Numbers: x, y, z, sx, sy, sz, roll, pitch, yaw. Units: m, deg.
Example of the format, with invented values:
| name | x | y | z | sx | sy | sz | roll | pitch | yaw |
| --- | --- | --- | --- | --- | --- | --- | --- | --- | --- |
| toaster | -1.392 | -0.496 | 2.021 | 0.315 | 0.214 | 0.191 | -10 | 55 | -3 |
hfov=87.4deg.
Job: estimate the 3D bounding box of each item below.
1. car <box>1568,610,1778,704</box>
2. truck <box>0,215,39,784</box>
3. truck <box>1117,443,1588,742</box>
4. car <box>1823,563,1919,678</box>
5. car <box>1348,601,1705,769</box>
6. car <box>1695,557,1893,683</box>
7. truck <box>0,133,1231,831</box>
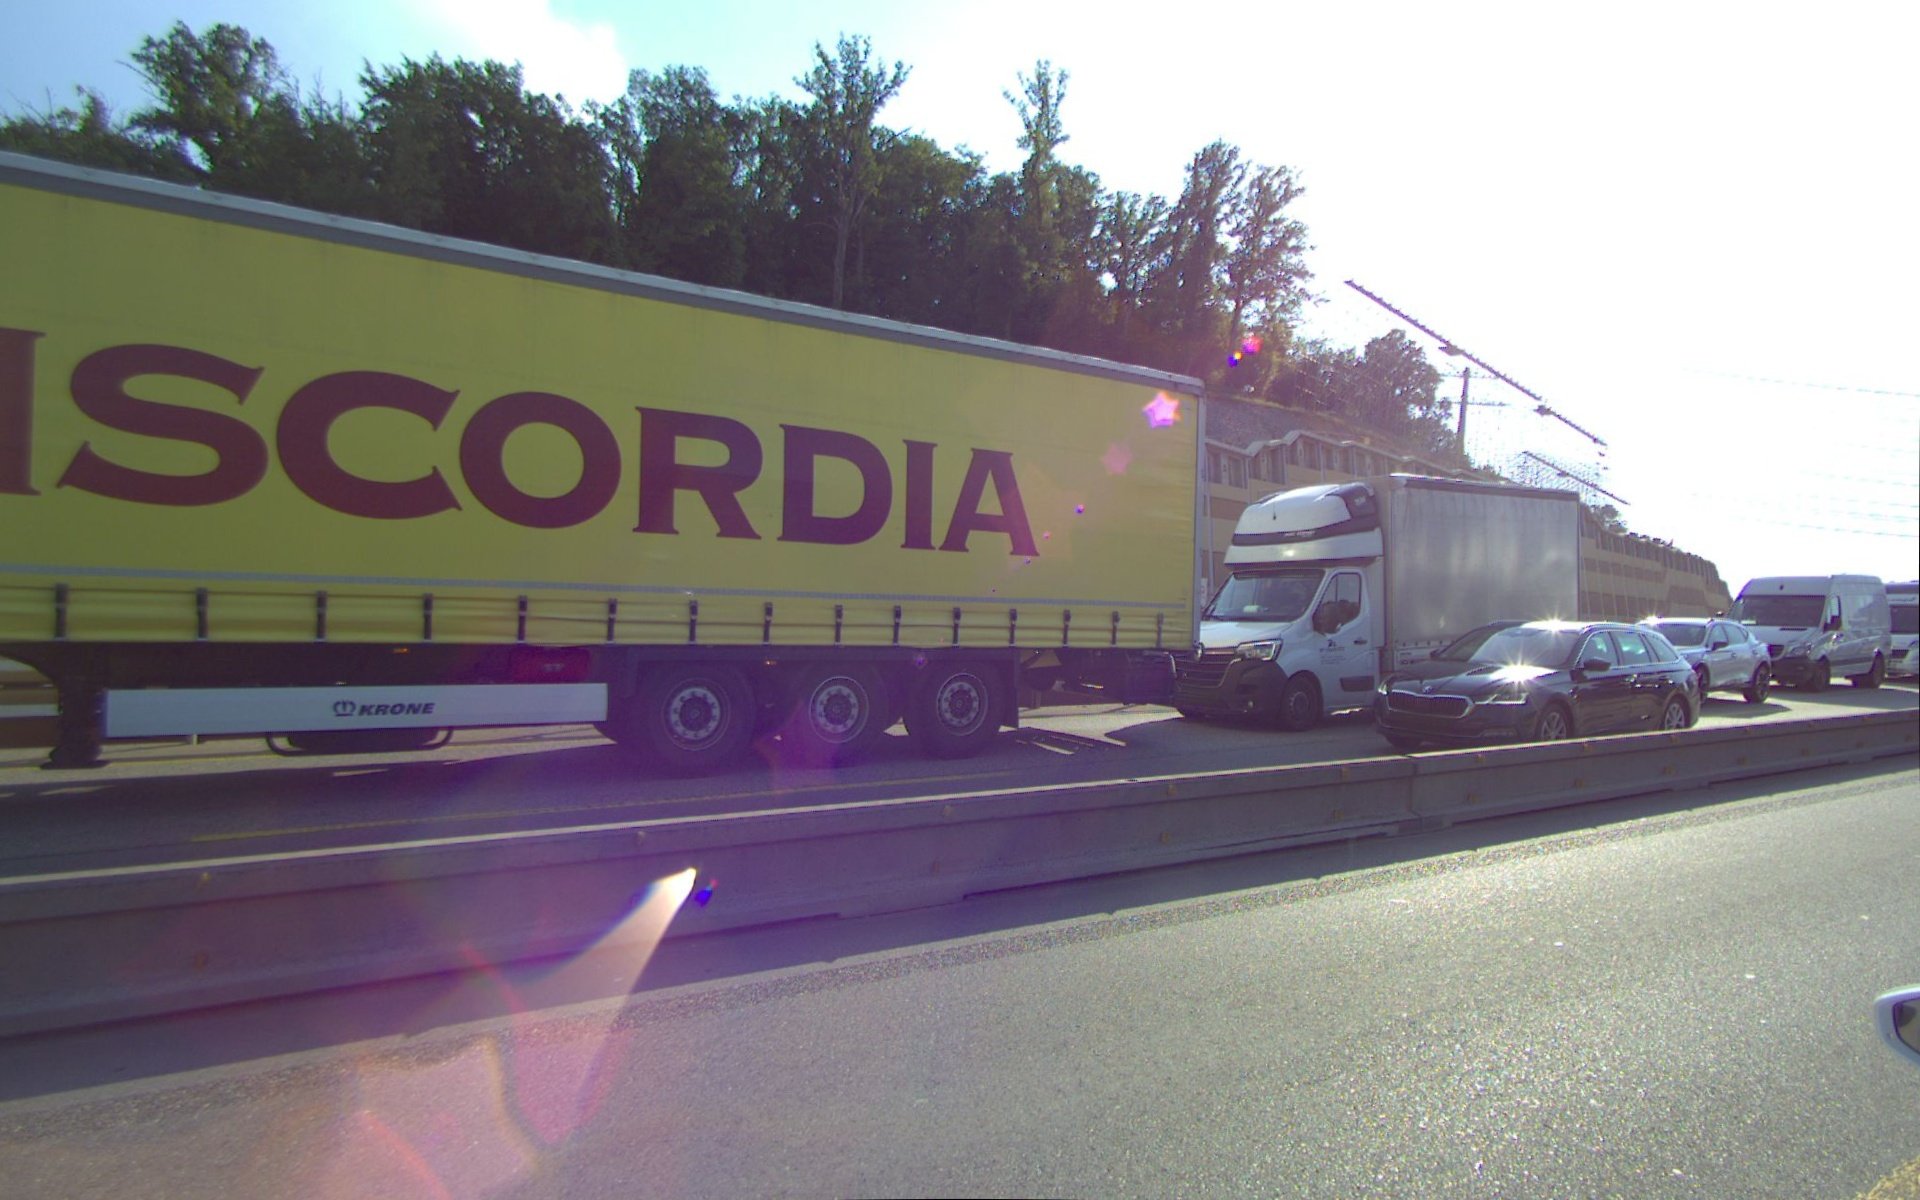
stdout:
| name | x | y | z | sx | sy | sz | roll | pitch | yaw |
| --- | --- | --- | --- | --- | --- | --- | --- | --- | --- |
| car | 13.365 | 1.024 | 18.796 | 3.956 | 1.544 | 1.754 | 2 | 0 | -31 |
| truck | -9.337 | -0.778 | 5.321 | 6.032 | 4.142 | 2.699 | 2 | -1 | -31 |
| truck | 6.019 | -0.023 | 14.826 | 7.532 | 3.509 | 2.434 | 1 | 0 | -32 |
| car | 27.250 | 0.631 | 28.450 | 7.552 | 2.956 | 2.320 | 2 | -1 | -34 |
| car | 6.414 | 0.844 | 11.242 | 4.239 | 1.544 | 1.645 | 2 | 0 | -32 |
| car | 19.652 | 0.500 | 23.590 | 5.686 | 2.655 | 1.945 | 2 | -1 | -33 |
| truck | -3.634 | -0.613 | 8.798 | 13.992 | 4.142 | 2.694 | 2 | -1 | -31 |
